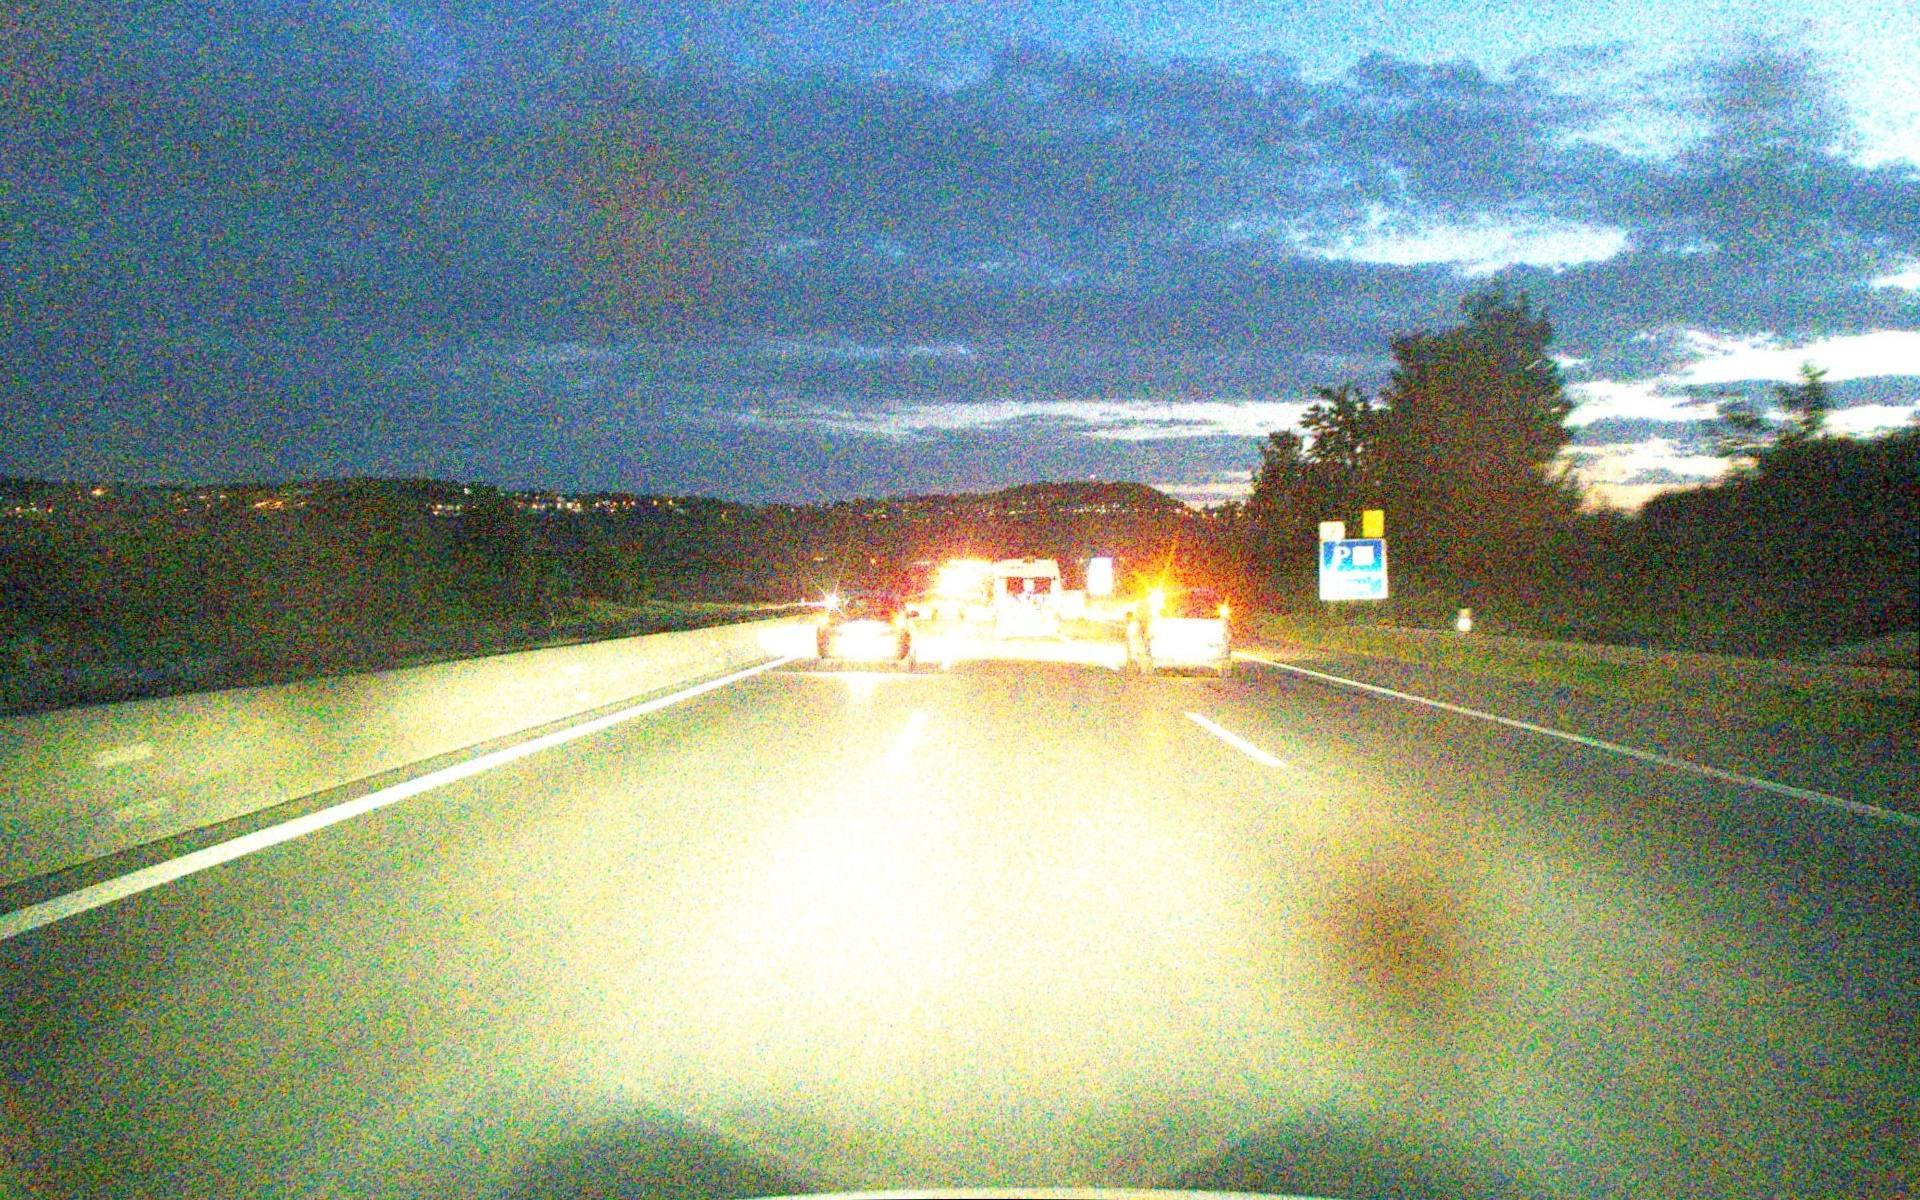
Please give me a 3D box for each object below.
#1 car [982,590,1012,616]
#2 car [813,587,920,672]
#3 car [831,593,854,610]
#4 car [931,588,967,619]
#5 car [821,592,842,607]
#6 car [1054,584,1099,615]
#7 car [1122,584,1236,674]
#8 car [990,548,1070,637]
[{"bbox_3d":[2.880,0.250,129.691,2.303,1.947,4.723,-1,0,1],"label":"car"},{"bbox_3d":[-1.731,0.514,31.739,1.756,1.494,3.773,0,1,1],"label":"car"},{"bbox_3d":[-12.298,0.174,173.196,1.864,1.671,5.299,-1,0,1],"label":"car"},{"bbox_3d":[-0.530,0.136,83.279,1.709,1.465,4.368,-1,1,1],"label":"car"},{"bbox_3d":[-15.812,-0.105,203.887,2.003,1.750,4.775,-3,0,1],"label":"car"},{"bbox_3d":[6.084,-0.039,86.821,2.118,1.591,4.723,0,0,1],"label":"car"},{"bbox_3d":[4.156,0.513,32.017,1.612,1.624,4.509,0,0,0],"label":"car"},{"bbox_3d":[2.094,-0.246,51.249,2.303,2.579,5.702,-1,1,1],"label":"car"}]
